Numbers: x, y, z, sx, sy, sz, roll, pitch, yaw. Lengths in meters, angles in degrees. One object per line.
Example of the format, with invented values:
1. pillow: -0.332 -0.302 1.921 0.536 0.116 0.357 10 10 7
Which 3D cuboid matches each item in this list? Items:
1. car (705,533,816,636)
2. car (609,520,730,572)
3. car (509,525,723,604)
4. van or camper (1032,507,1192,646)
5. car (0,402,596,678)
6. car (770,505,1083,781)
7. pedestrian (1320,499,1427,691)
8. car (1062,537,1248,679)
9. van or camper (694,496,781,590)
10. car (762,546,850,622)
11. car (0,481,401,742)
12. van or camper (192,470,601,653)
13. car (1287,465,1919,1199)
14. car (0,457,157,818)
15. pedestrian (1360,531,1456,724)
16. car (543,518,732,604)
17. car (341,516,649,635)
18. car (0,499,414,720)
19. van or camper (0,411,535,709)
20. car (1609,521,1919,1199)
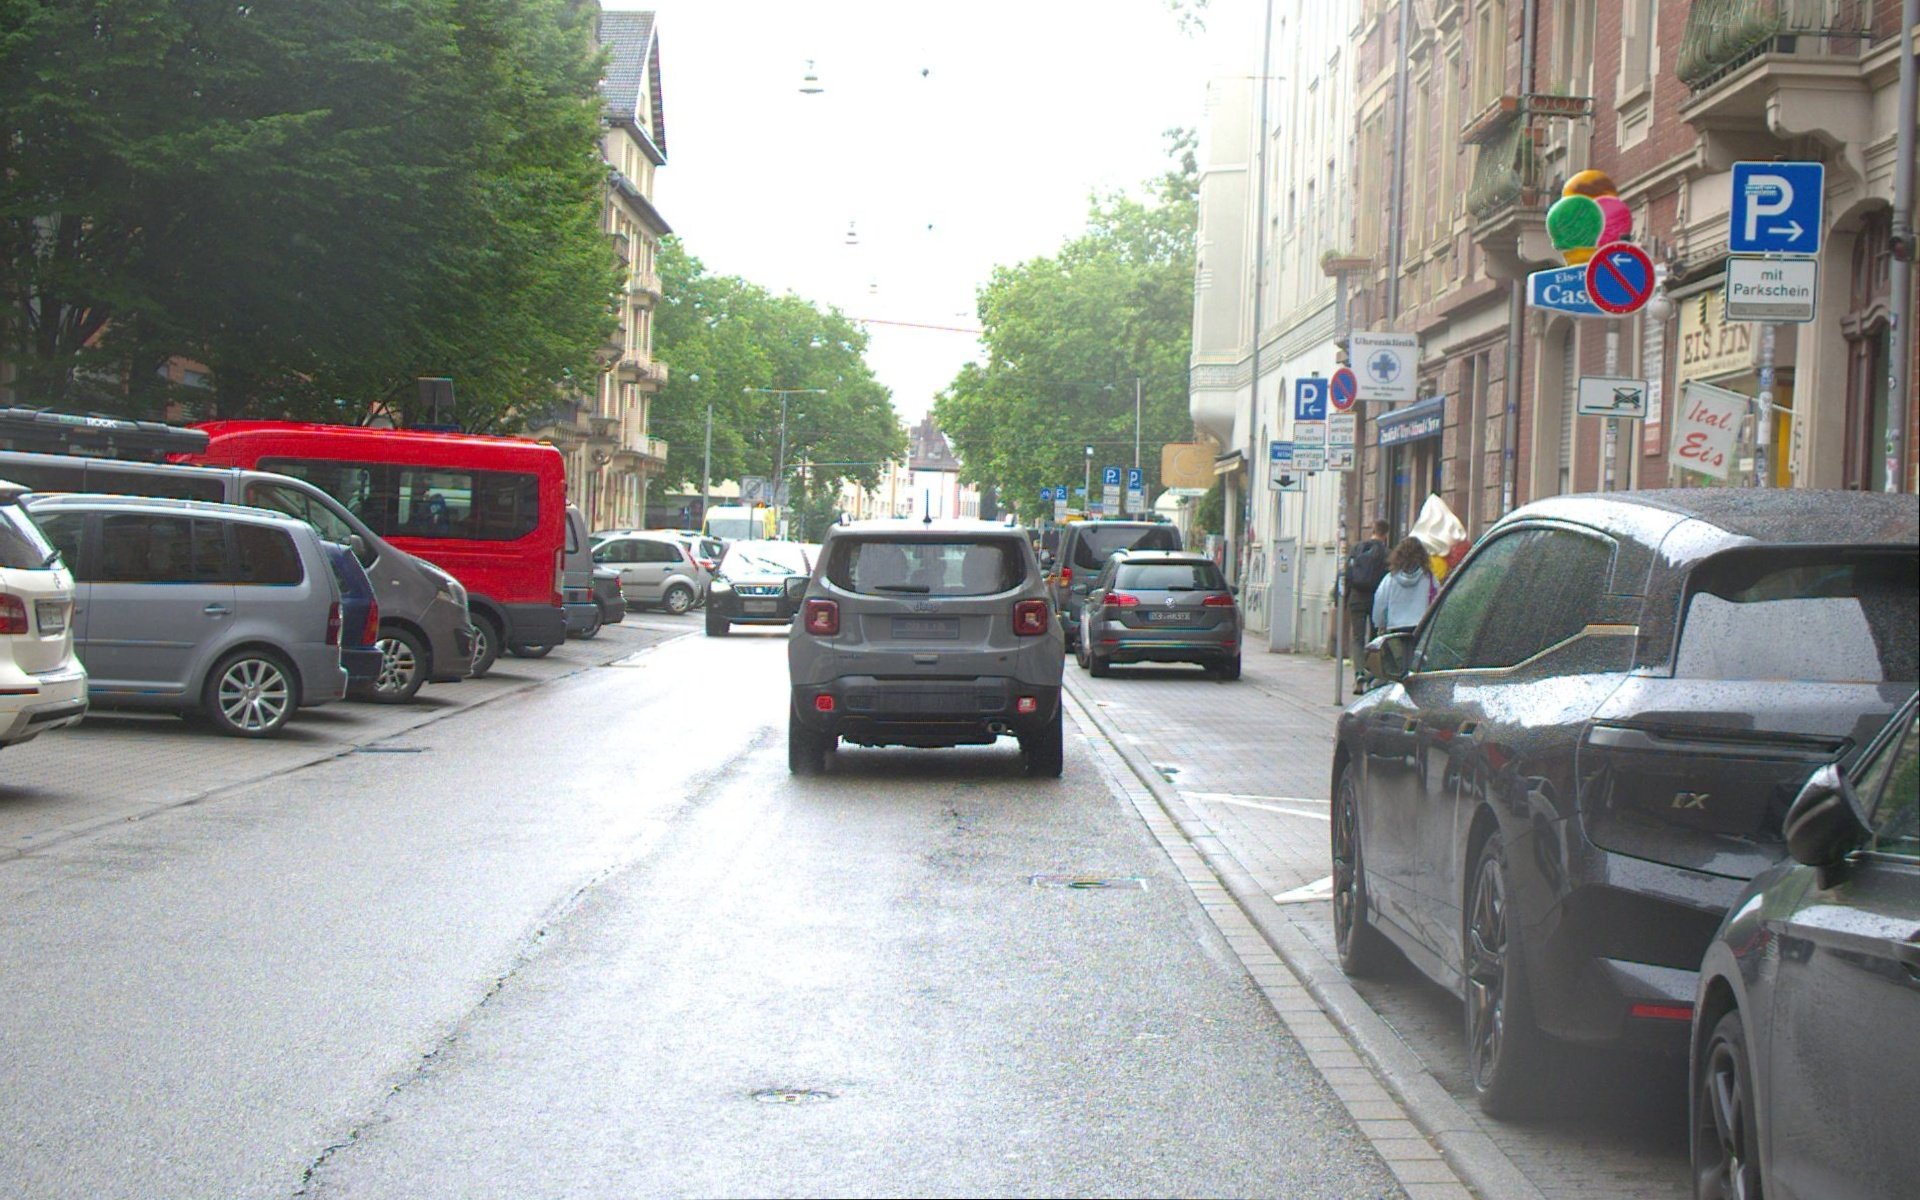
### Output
1. car: -3.203 -0.268 55.764 1.669 1.554 4.004 2 1 -2
2. car: -9.996 -1.855 118.431 3.653 1.553 1.799 3 0 -36
3. car: -6.596 -0.678 66.001 3.702 1.447 1.685 0 1 -35
4. van or camper: 2.145 -0.369 49.914 2.021 1.884 5.055 1 1 0
5. car: -6.794 -0.594 35.244 5.554 2.532 2.230 2 1 -27
6. car: -0.254 0.238 23.658 1.898 1.665 4.506 2 1 -1
7. pedestrian: 4.364 -0.054 36.253 0.680 1.928 0.808 1 -6 35
8. car: 2.238 0.060 40.479 1.841 1.540 4.004 2 1 -1
9. van or camper: -6.603 -1.664 102.660 2.121 2.522 6.875 -1 -1 0
10. car: -3.138 -0.353 70.684 1.669 1.460 4.004 2 1 -1
11. car: -6.468 0.006 24.549 4.430 1.625 1.845 5 1 -26
12. van or camper: -6.771 -0.452 41.481 4.434 1.968 1.782 2 1 -33
13. car: 2.286 0.567 10.376 1.993 1.773 4.827 2 1 -1
14. car: -6.920 -0.013 18.323 4.578 1.779 2.545 5 1 -1
15. pedestrian: 3.819 0.226 29.359 0.679 1.608 0.810 1 1 0
16. car: -6.460 -0.777 68.880 3.375 1.648 1.634 1 1 -33
17. car: -6.627 -0.342 49.201 3.967 1.442 1.767 3 1 -40
18. car: -6.678 0.024 27.002 4.341 1.499 1.755 4 1 -22
19. van or camper: -6.526 -0.351 29.968 5.008 2.341 2.345 2 1 -26
20. car: 2.329 0.676 5.249 1.871 1.556 4.345 1 1 1
